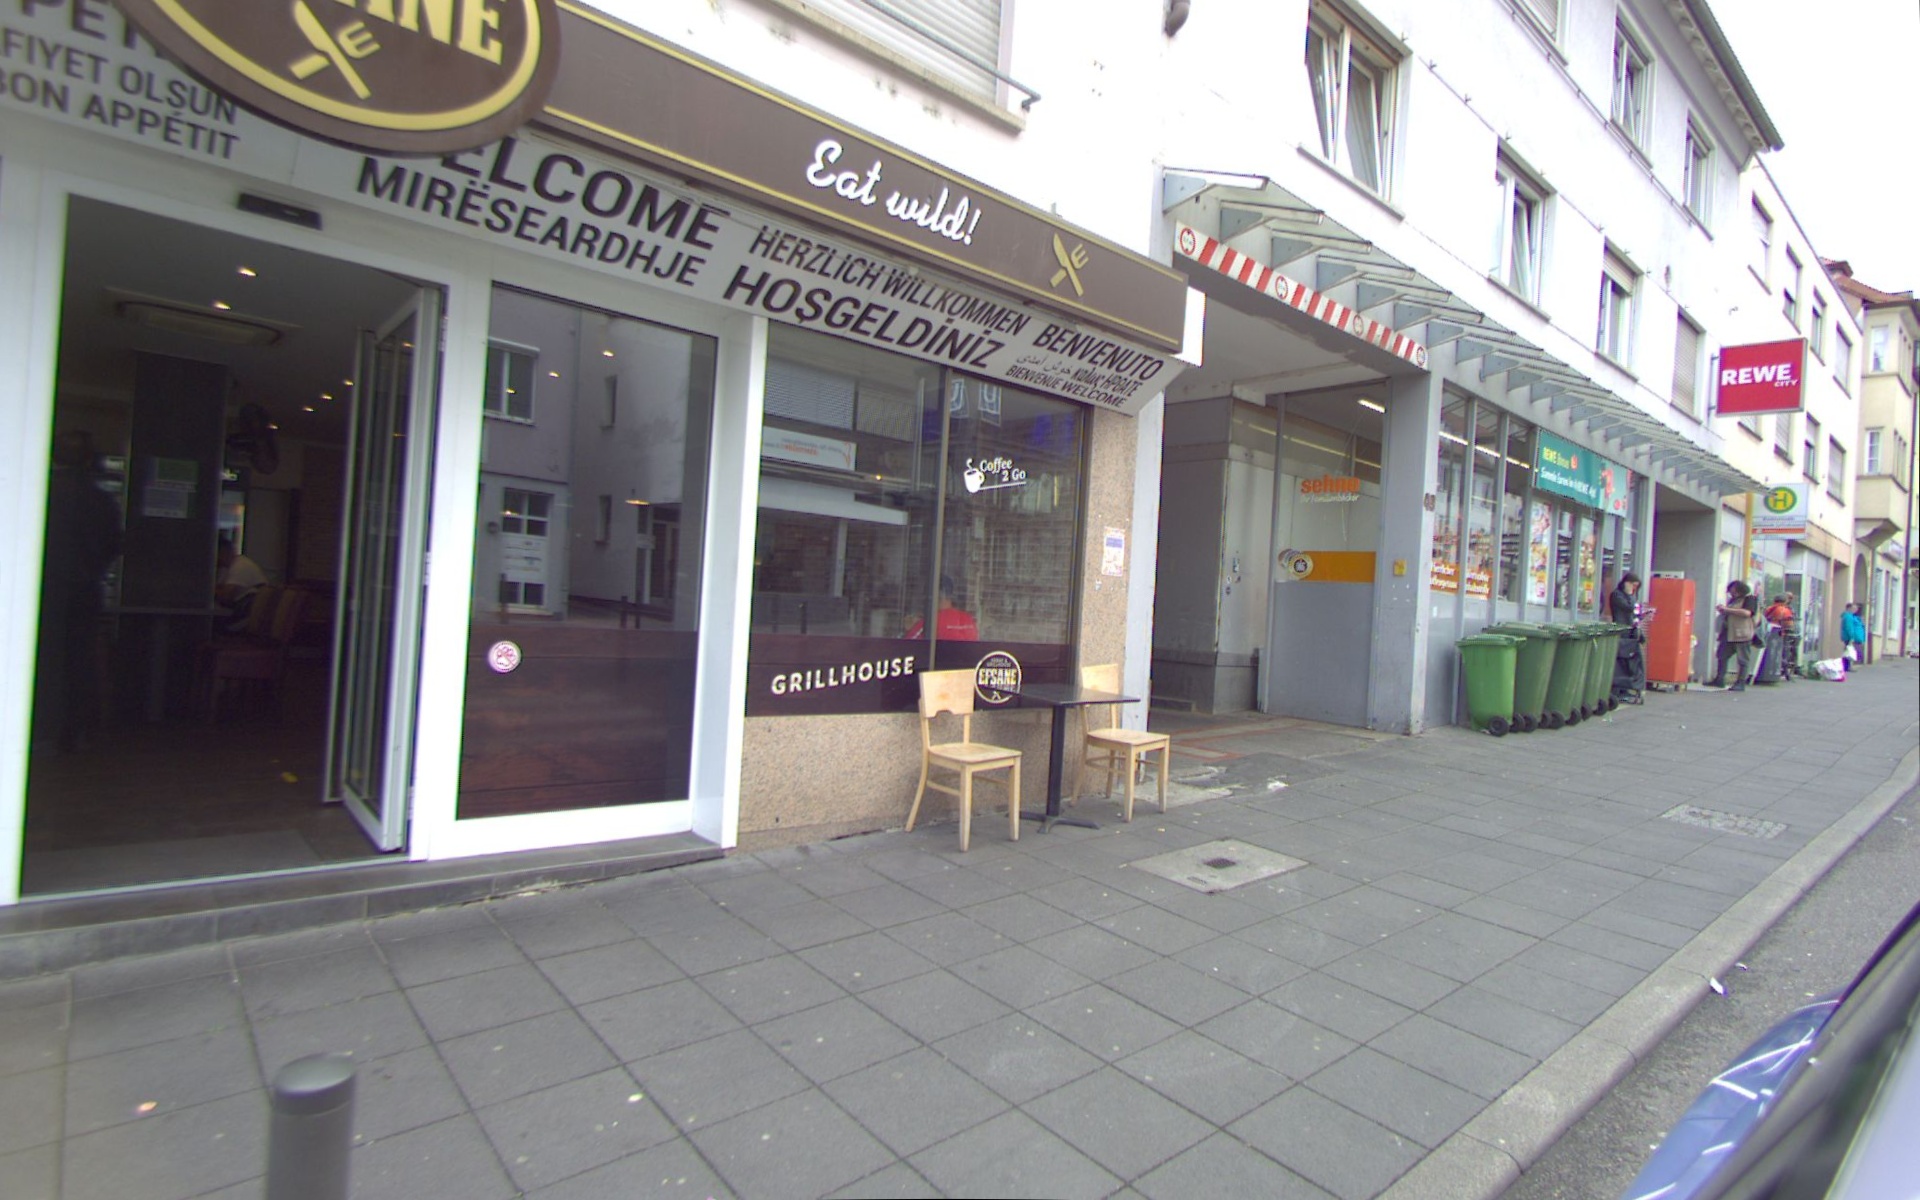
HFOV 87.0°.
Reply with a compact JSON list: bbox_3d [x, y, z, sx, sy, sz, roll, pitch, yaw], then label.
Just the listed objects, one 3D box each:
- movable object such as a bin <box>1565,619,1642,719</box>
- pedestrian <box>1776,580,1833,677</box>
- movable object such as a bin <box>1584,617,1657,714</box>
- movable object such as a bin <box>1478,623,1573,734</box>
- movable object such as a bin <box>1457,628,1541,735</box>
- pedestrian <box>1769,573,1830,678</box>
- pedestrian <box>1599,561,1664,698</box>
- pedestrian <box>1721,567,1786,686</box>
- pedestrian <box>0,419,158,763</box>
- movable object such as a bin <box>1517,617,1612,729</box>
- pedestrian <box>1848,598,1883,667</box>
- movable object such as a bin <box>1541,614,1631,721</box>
[{"bbox_3d":[7.338,0.768,11.543,0.564,1.073,0.569,1,1,-41],"label":"movable object such as a bin"},{"bbox_3d":[15.525,0.506,18.618,0.599,1.747,0.624,0,0,19],"label":"pedestrian"},{"bbox_3d":[7.776,0.751,11.913,0.549,1.070,0.559,1,1,-41],"label":"movable object such as a bin"},{"bbox_3d":[5.760,0.779,10.311,0.550,1.043,0.670,1,2,-41],"label":"movable object such as a bin"},{"bbox_3d":[5.297,0.782,9.953,0.490,0.968,0.568,1,1,-41],"label":"movable object such as a bin"},{"bbox_3d":[15.002,0.443,18.095,0.618,1.845,0.604,0,0,15],"label":"pedestrian"},{"bbox_3d":[8.819,0.376,13.320,0.621,1.747,0.601,0,0,26],"label":"pedestrian"},{"bbox_3d":[12.150,0.394,15.505,0.626,1.746,0.597,5,3,45],"label":"pedestrian"},{"bbox_3d":[-4.924,-0.053,5.558,0.621,1.747,0.601,1,0,26],"label":"pedestrian"},{"bbox_3d":[6.348,0.740,10.622,0.661,1.094,0.652,1,2,-41],"label":"movable object such as a bin"},{"bbox_3d":[22.048,0.775,24.644,0.625,1.650,0.597,0,0,44],"label":"pedestrian"},{"bbox_3d":[6.871,0.714,11.115,0.648,1.094,0.652,1,2,-41],"label":"movable object such as a bin"}]
